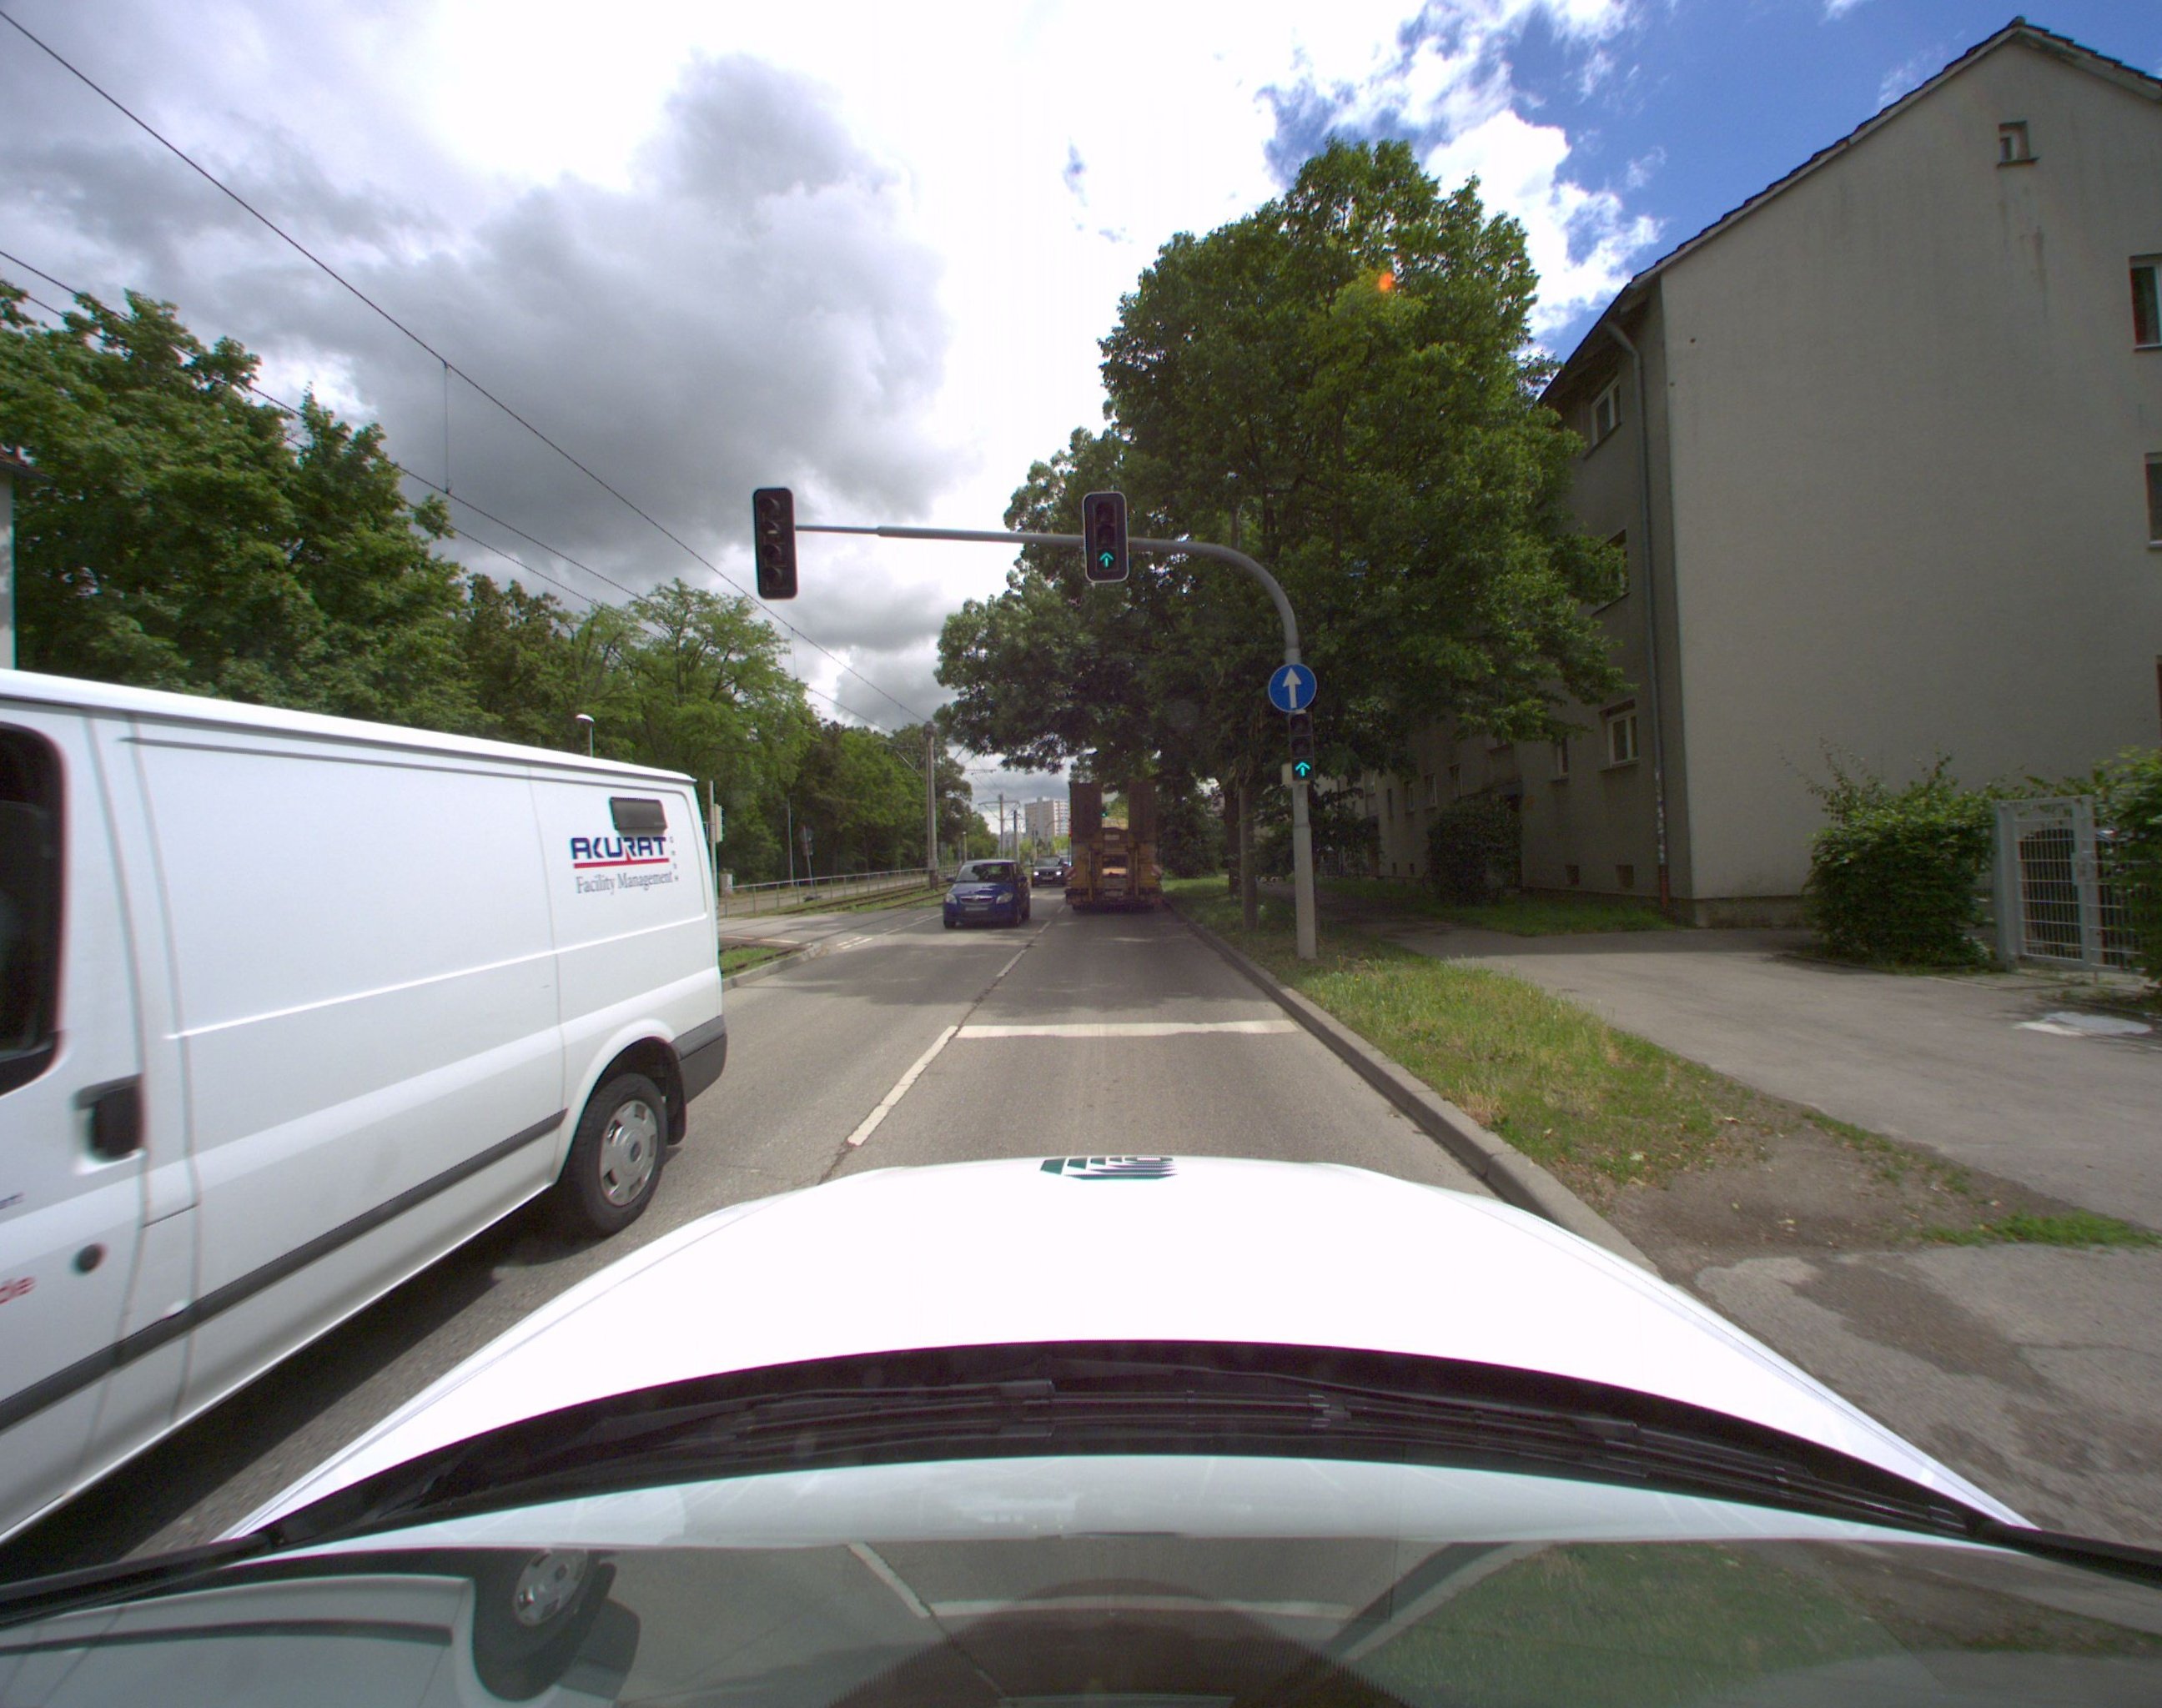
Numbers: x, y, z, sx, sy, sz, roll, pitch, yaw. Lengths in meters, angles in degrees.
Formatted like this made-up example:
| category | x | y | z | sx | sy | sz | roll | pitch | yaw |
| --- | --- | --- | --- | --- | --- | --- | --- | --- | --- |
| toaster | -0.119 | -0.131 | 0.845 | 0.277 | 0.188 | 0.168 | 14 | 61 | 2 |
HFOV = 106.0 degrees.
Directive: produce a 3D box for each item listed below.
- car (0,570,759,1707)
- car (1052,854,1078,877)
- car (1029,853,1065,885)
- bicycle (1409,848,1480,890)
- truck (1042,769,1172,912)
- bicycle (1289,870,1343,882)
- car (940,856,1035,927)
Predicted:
| category | x | y | z | sx | sy | sz | roll | pitch | yaw |
| --- | --- | --- | --- | --- | --- | --- | --- | --- | --- |
| car | -2.864 | 0.519 | 2.222 | 1.987 | 1.996 | 4.786 | -1 | 0 | 1 |
| car | -1.130 | 0.796 | 58.185 | 1.710 | 1.544 | 4.001 | 0 | 0 | 1 |
| car | -1.700 | 0.732 | 41.131 | 1.631 | 1.533 | 3.275 | 0 | 0 | 1 |
| bicycle | 9.570 | 0.394 | 21.482 | 0.438 | 1.080 | 1.736 | 0 | -1 | -33 |
| truck | 0.733 | -0.268 | 27.351 | 3.305 | 3.651 | 12.560 | -1 | -1 | 0 |
| bicycle | 10.130 | 0.947 | 35.176 | 2.190 | 0.508 | 0.675 | -1 | -1 | 12 |
| car | -2.070 | 0.799 | 19.048 | 1.575 | 1.485 | 3.809 | 0 | 0 | 3 |
